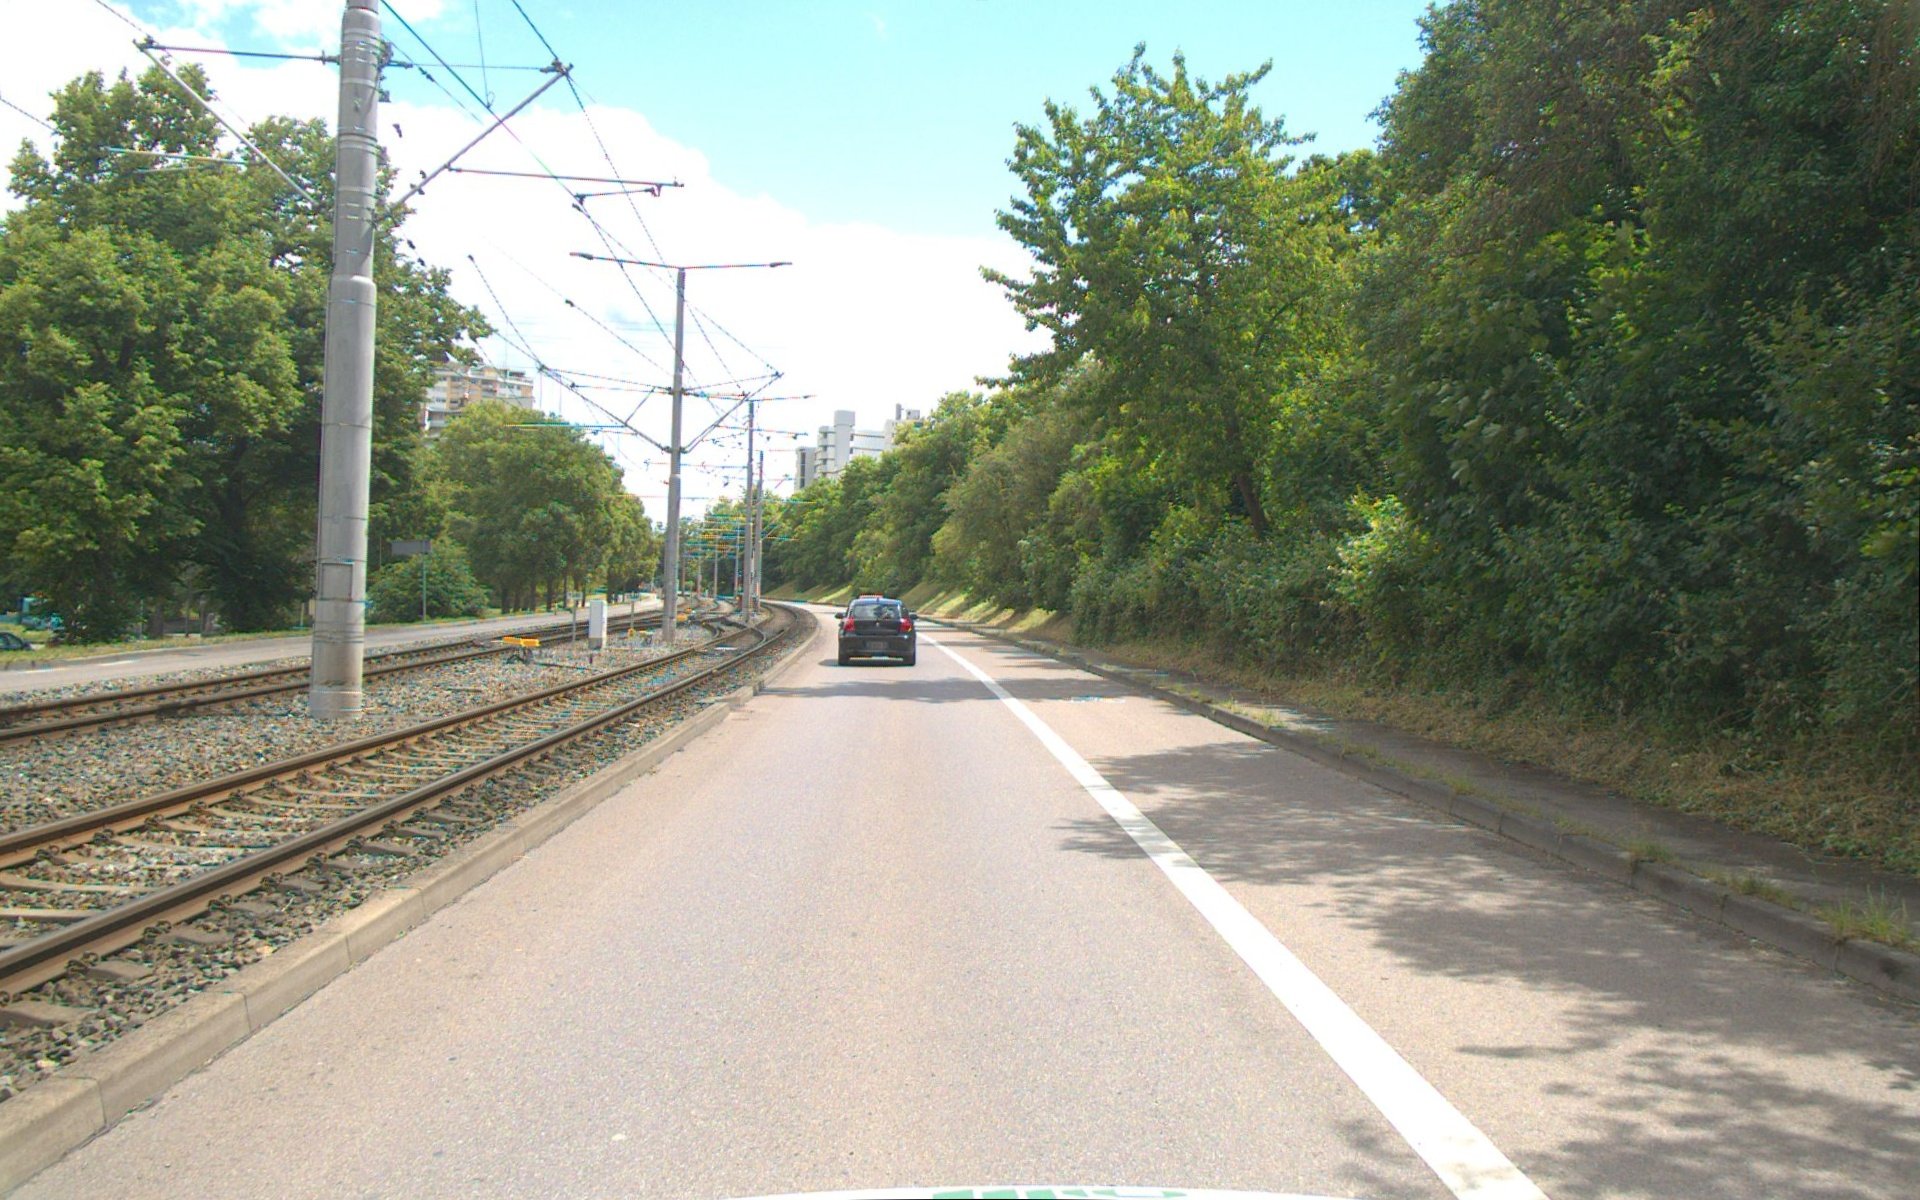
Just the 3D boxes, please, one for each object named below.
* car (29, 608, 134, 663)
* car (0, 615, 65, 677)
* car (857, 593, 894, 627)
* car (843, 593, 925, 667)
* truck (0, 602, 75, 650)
[{"bbox_3d":[-30.750,1.218,58.014,1.780,1.803,3.996,0,0,-5],"label":"car"},{"bbox_3d":[-29.595,1.388,51.113,1.779,1.803,3.999,0,0,-1],"label":"car"},{"bbox_3d":[-3.965,0.491,78.021,1.591,1.468,3.420,3,-1,-1],"label":"car"},{"bbox_3d":[-1.678,0.662,36.913,1.674,1.486,3.958,3,-1,-2],"label":"car"},{"bbox_3d":[-58.129,1.576,98.756,8.921,2.742,2.610,-1,0,-9],"label":"truck"}]
